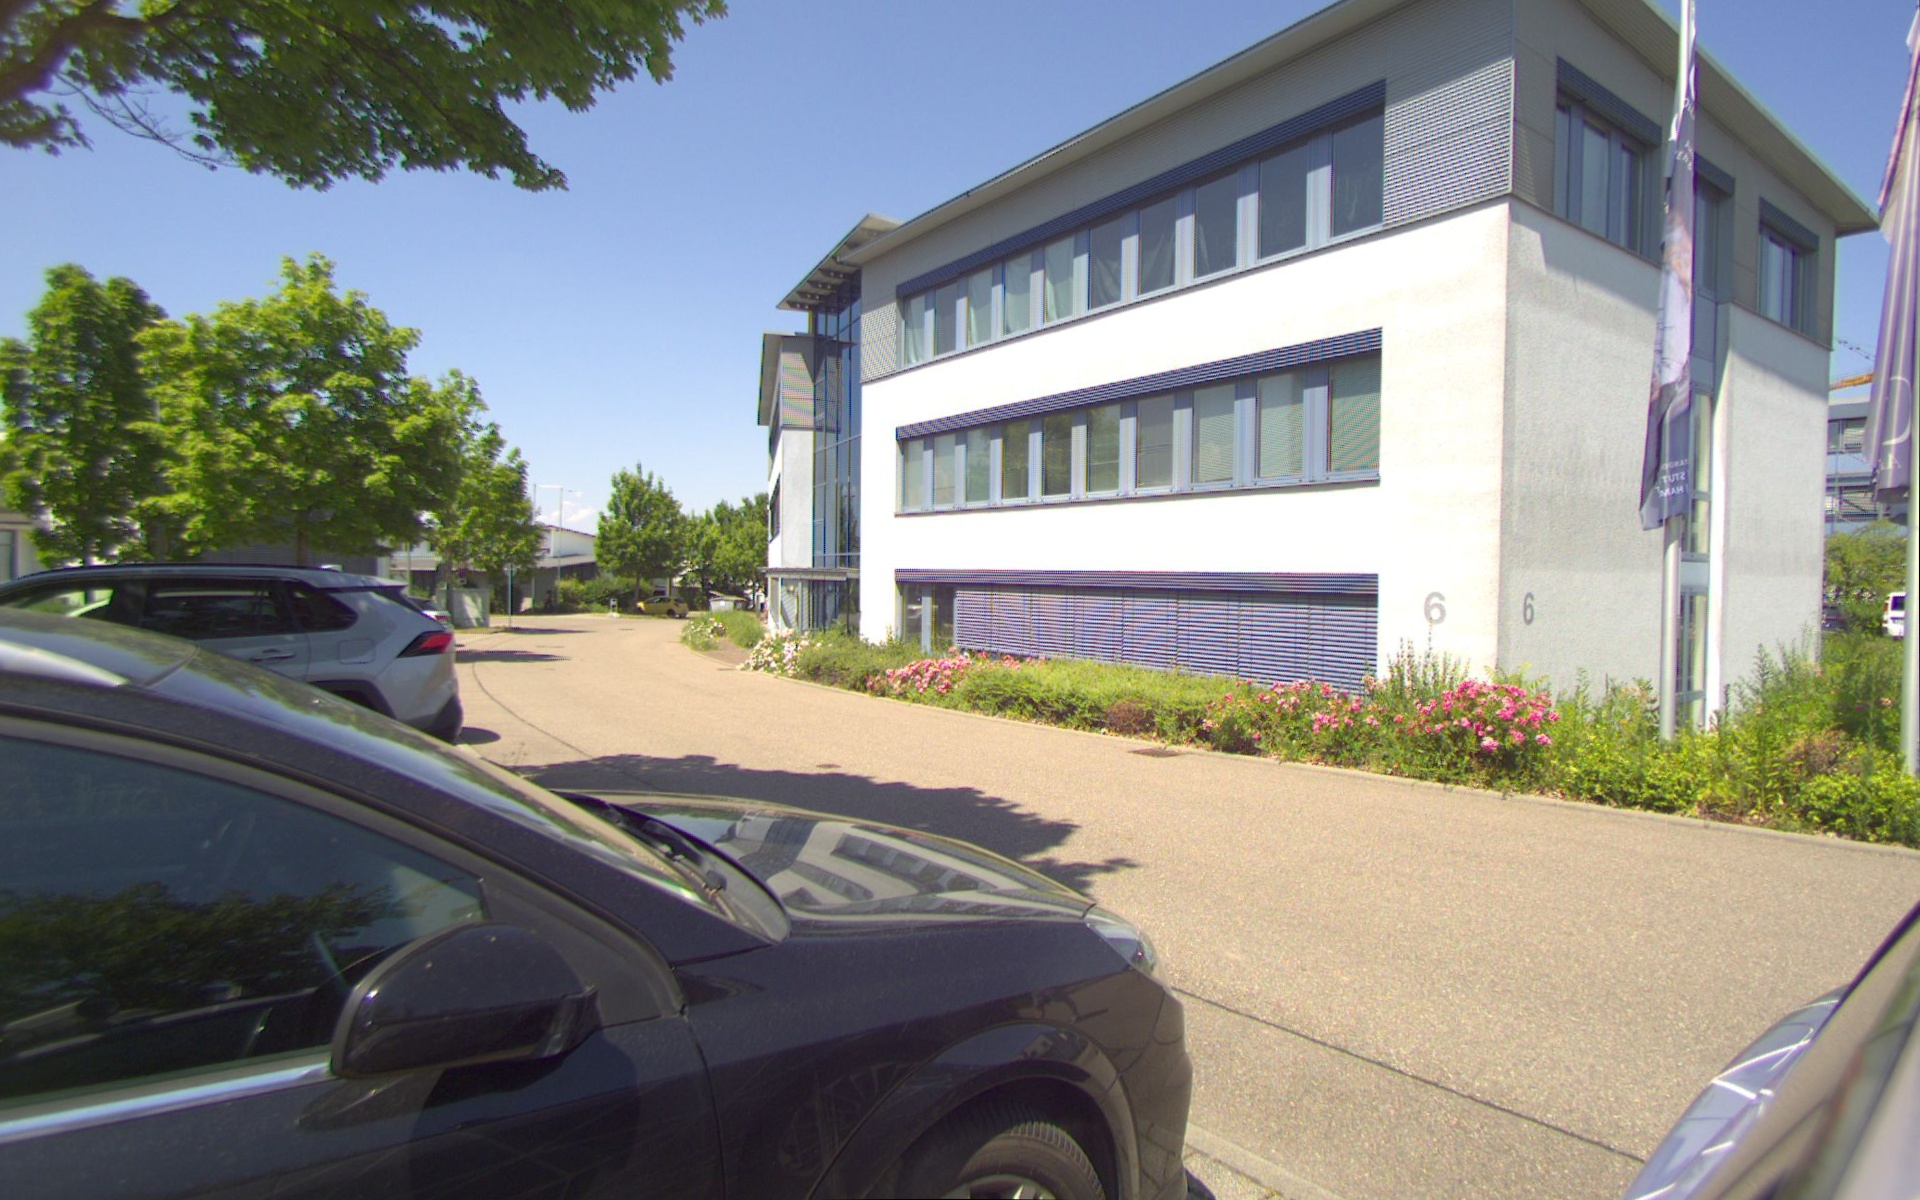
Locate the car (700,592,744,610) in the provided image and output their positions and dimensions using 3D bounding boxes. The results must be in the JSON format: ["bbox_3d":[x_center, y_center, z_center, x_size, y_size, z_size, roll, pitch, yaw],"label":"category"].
[{"bbox_3d":[-19.118,0.067,81.306,3.169,1.460,1.582,0,0,15],"label":"car"}]

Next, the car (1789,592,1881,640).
[{"bbox_3d":[30.847,0.516,35.650,3.928,1.565,1.787,-1,1,-39],"label":"car"}]

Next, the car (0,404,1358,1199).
[{"bbox_3d":[-1.411,0.617,1.471,4.483,1.569,1.762,0,0,-39],"label":"car"}]

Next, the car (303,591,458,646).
[{"bbox_3d":[-16.233,0.520,28.536,3.514,1.461,1.639,1,-1,-19],"label":"car"}]

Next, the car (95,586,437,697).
[{"bbox_3d":[-10.345,0.598,15.475,4.094,1.505,1.662,1,-1,-30],"label":"car"}]

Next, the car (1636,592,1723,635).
[{"bbox_3d":[28.005,0.493,39.361,3.928,1.565,1.787,-1,1,-39],"label":"car"}]

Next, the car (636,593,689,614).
[{"bbox_3d":[-20.531,0.232,69.895,3.169,1.460,1.582,0,0,15],"label":"car"}]

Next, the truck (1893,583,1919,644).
[{"bbox_3d":[32.091,0.412,32.998,3.929,1.917,1.997,0,0,-40],"label":"truck"}]

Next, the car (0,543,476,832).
[{"bbox_3d":[-5.778,0.503,6.807,4.252,1.664,1.856,1,-1,-37],"label":"car"}]

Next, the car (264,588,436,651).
[{"bbox_3d":[-15.689,0.512,26.207,3.514,1.545,1.639,1,-1,-19],"label":"car"}]

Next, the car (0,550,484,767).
[{"bbox_3d":[-6.790,0.470,9.272,4.125,1.664,1.660,1,-1,-37],"label":"car"}]

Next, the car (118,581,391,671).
[{"bbox_3d":[-13.586,0.510,19.805,4.090,1.625,1.664,1,-1,-23],"label":"car"}]
